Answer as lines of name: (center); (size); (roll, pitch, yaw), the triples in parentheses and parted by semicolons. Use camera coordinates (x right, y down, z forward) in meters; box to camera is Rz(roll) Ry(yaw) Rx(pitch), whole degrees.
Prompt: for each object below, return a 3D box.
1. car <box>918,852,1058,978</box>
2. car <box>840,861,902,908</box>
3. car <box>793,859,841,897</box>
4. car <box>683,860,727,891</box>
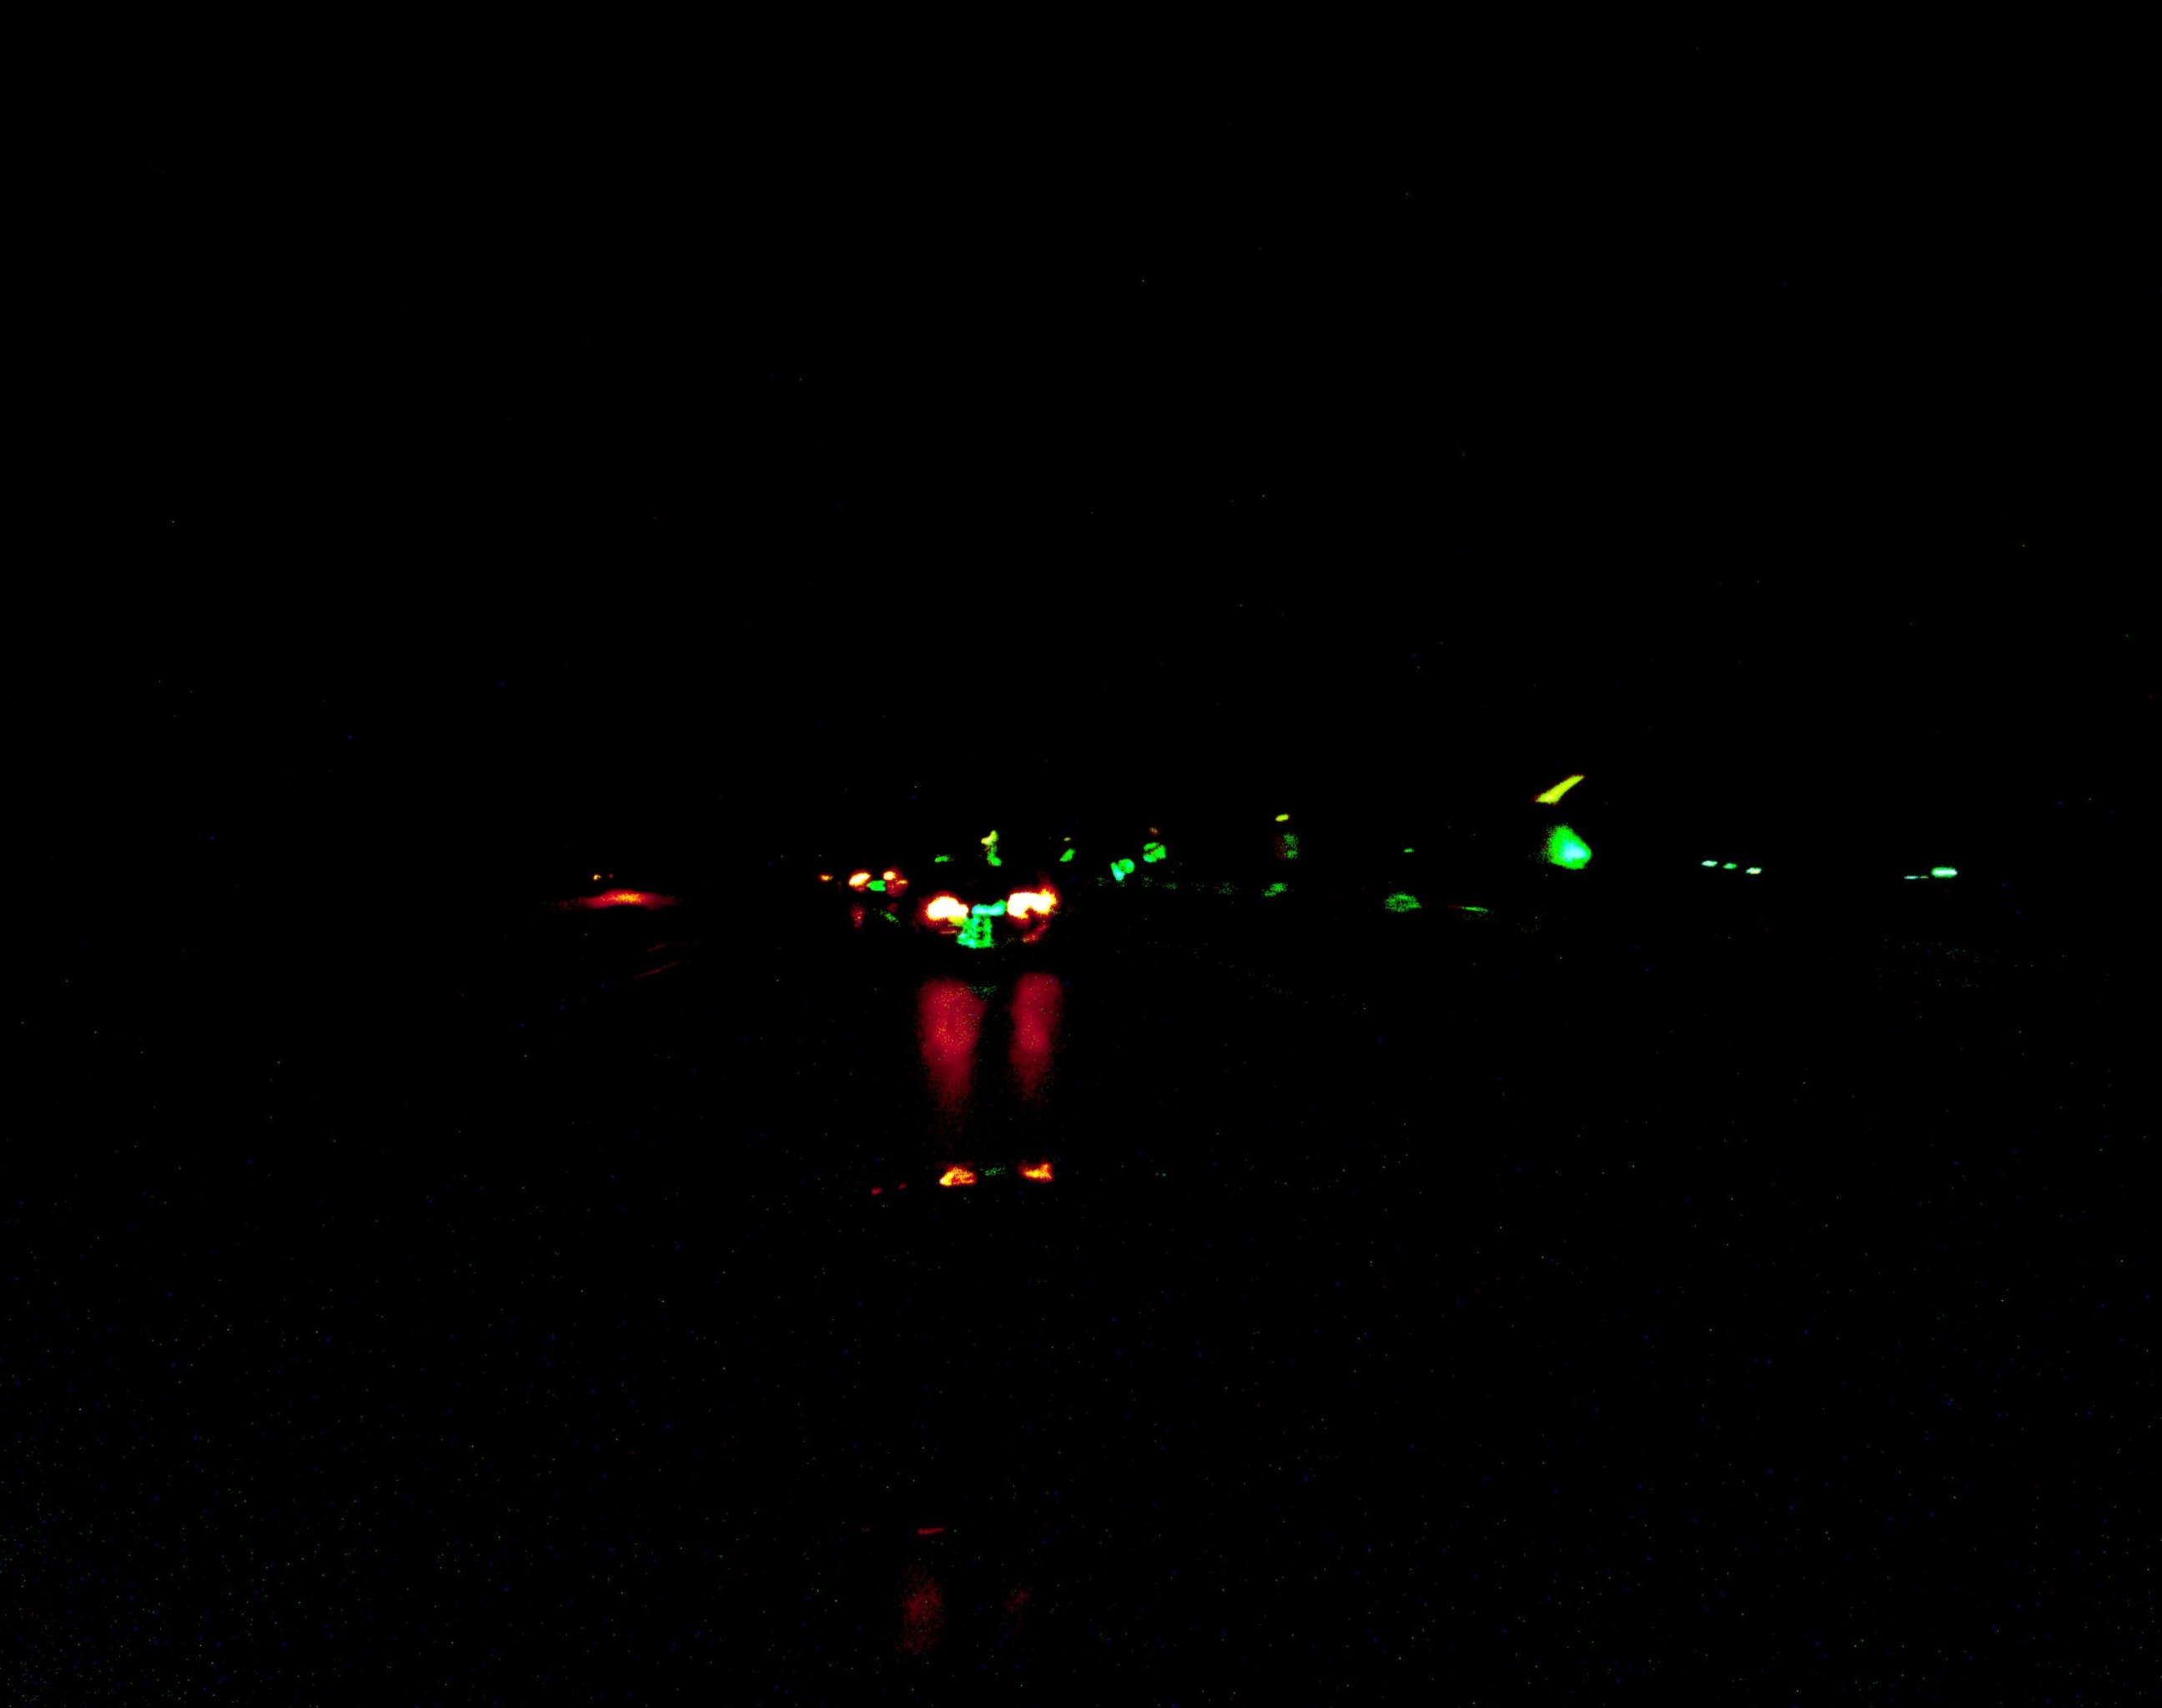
car: (-1.584, 0.842, 13.186); (1.860, 1.647, 4.056); (-2, 0, -9)
car: (-8.685, 1.188, 33.453); (1.903, 1.720, 4.014); (0, 0, -23)
car: (-15.026, 1.317, 46.248); (1.907, 2.040, 4.007); (0, -1, -29)
car: (-26.195, 1.459, 56.638); (1.910, 1.998, 4.000); (1, -1, -38)
